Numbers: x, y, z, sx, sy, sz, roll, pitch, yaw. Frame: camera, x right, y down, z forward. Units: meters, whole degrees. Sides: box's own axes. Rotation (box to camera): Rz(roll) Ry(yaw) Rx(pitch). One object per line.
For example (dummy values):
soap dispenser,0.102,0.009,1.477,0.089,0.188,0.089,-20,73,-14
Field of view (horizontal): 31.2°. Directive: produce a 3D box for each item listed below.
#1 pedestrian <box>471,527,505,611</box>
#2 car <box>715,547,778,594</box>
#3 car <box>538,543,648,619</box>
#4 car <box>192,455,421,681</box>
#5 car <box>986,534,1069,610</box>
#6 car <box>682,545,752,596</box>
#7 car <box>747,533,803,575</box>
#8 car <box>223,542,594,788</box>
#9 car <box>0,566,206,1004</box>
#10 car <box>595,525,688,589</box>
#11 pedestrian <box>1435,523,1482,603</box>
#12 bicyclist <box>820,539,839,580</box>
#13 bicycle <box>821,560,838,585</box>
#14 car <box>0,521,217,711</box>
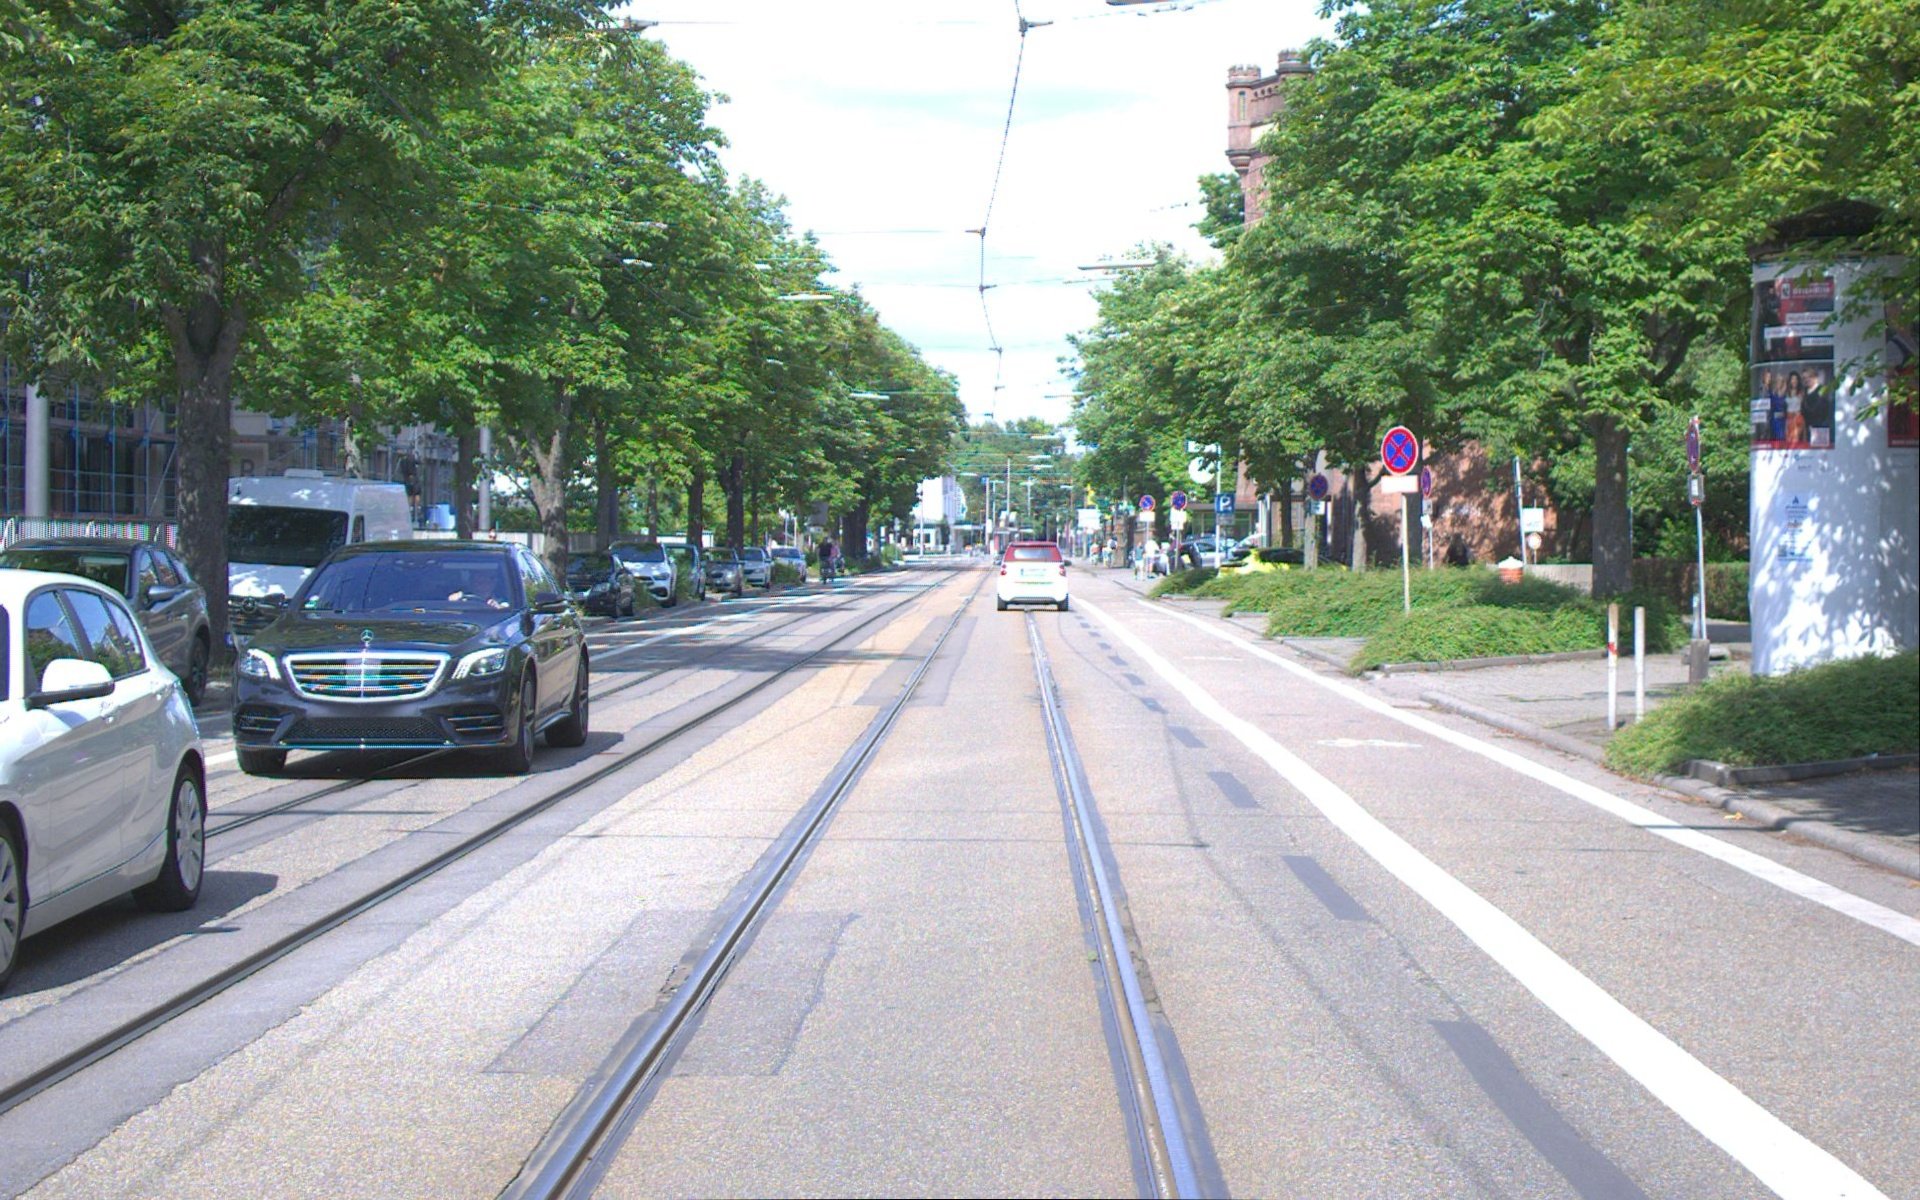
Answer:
pedestrian,-11.353,-0.746,82.687,0.802,2.007,0.485,0,1,-8
car,-7.334,-1.029,118.441,1.804,1.511,4.103,2,1,1
car,-7.772,-0.420,73.138,1.804,1.511,4.103,2,1,1
car,-8.158,-0.415,43.377,1.769,2.630,5.322,2,1,0
car,1.485,-0.644,76.652,1.665,1.619,3.621,0,1,-2
car,-7.469,-0.915,106.023,1.804,1.511,4.103,0,1,1
car,-6.975,-1.746,129.828,1.804,1.511,4.103,1,1,1
car,-3.663,0.372,23.594,1.800,1.503,4.536,1,1,0
car,-3.992,0.603,12.486,1.686,1.401,4.227,-2,1,-2
car,-7.734,-1.057,83.737,1.804,1.511,4.103,1,1,1
pedestrian,12.697,-0.941,87.579,0.977,2.007,1.093,2,1,0
bicyclist,-5.136,-1.586,135.399,0.658,1.574,0.946,2,1,-1
bicycle,-5.129,-1.082,135.354,0.618,0.970,1.717,1,1,-1
car,-8.460,0.102,32.714,1.804,1.656,4.103,2,1,1
